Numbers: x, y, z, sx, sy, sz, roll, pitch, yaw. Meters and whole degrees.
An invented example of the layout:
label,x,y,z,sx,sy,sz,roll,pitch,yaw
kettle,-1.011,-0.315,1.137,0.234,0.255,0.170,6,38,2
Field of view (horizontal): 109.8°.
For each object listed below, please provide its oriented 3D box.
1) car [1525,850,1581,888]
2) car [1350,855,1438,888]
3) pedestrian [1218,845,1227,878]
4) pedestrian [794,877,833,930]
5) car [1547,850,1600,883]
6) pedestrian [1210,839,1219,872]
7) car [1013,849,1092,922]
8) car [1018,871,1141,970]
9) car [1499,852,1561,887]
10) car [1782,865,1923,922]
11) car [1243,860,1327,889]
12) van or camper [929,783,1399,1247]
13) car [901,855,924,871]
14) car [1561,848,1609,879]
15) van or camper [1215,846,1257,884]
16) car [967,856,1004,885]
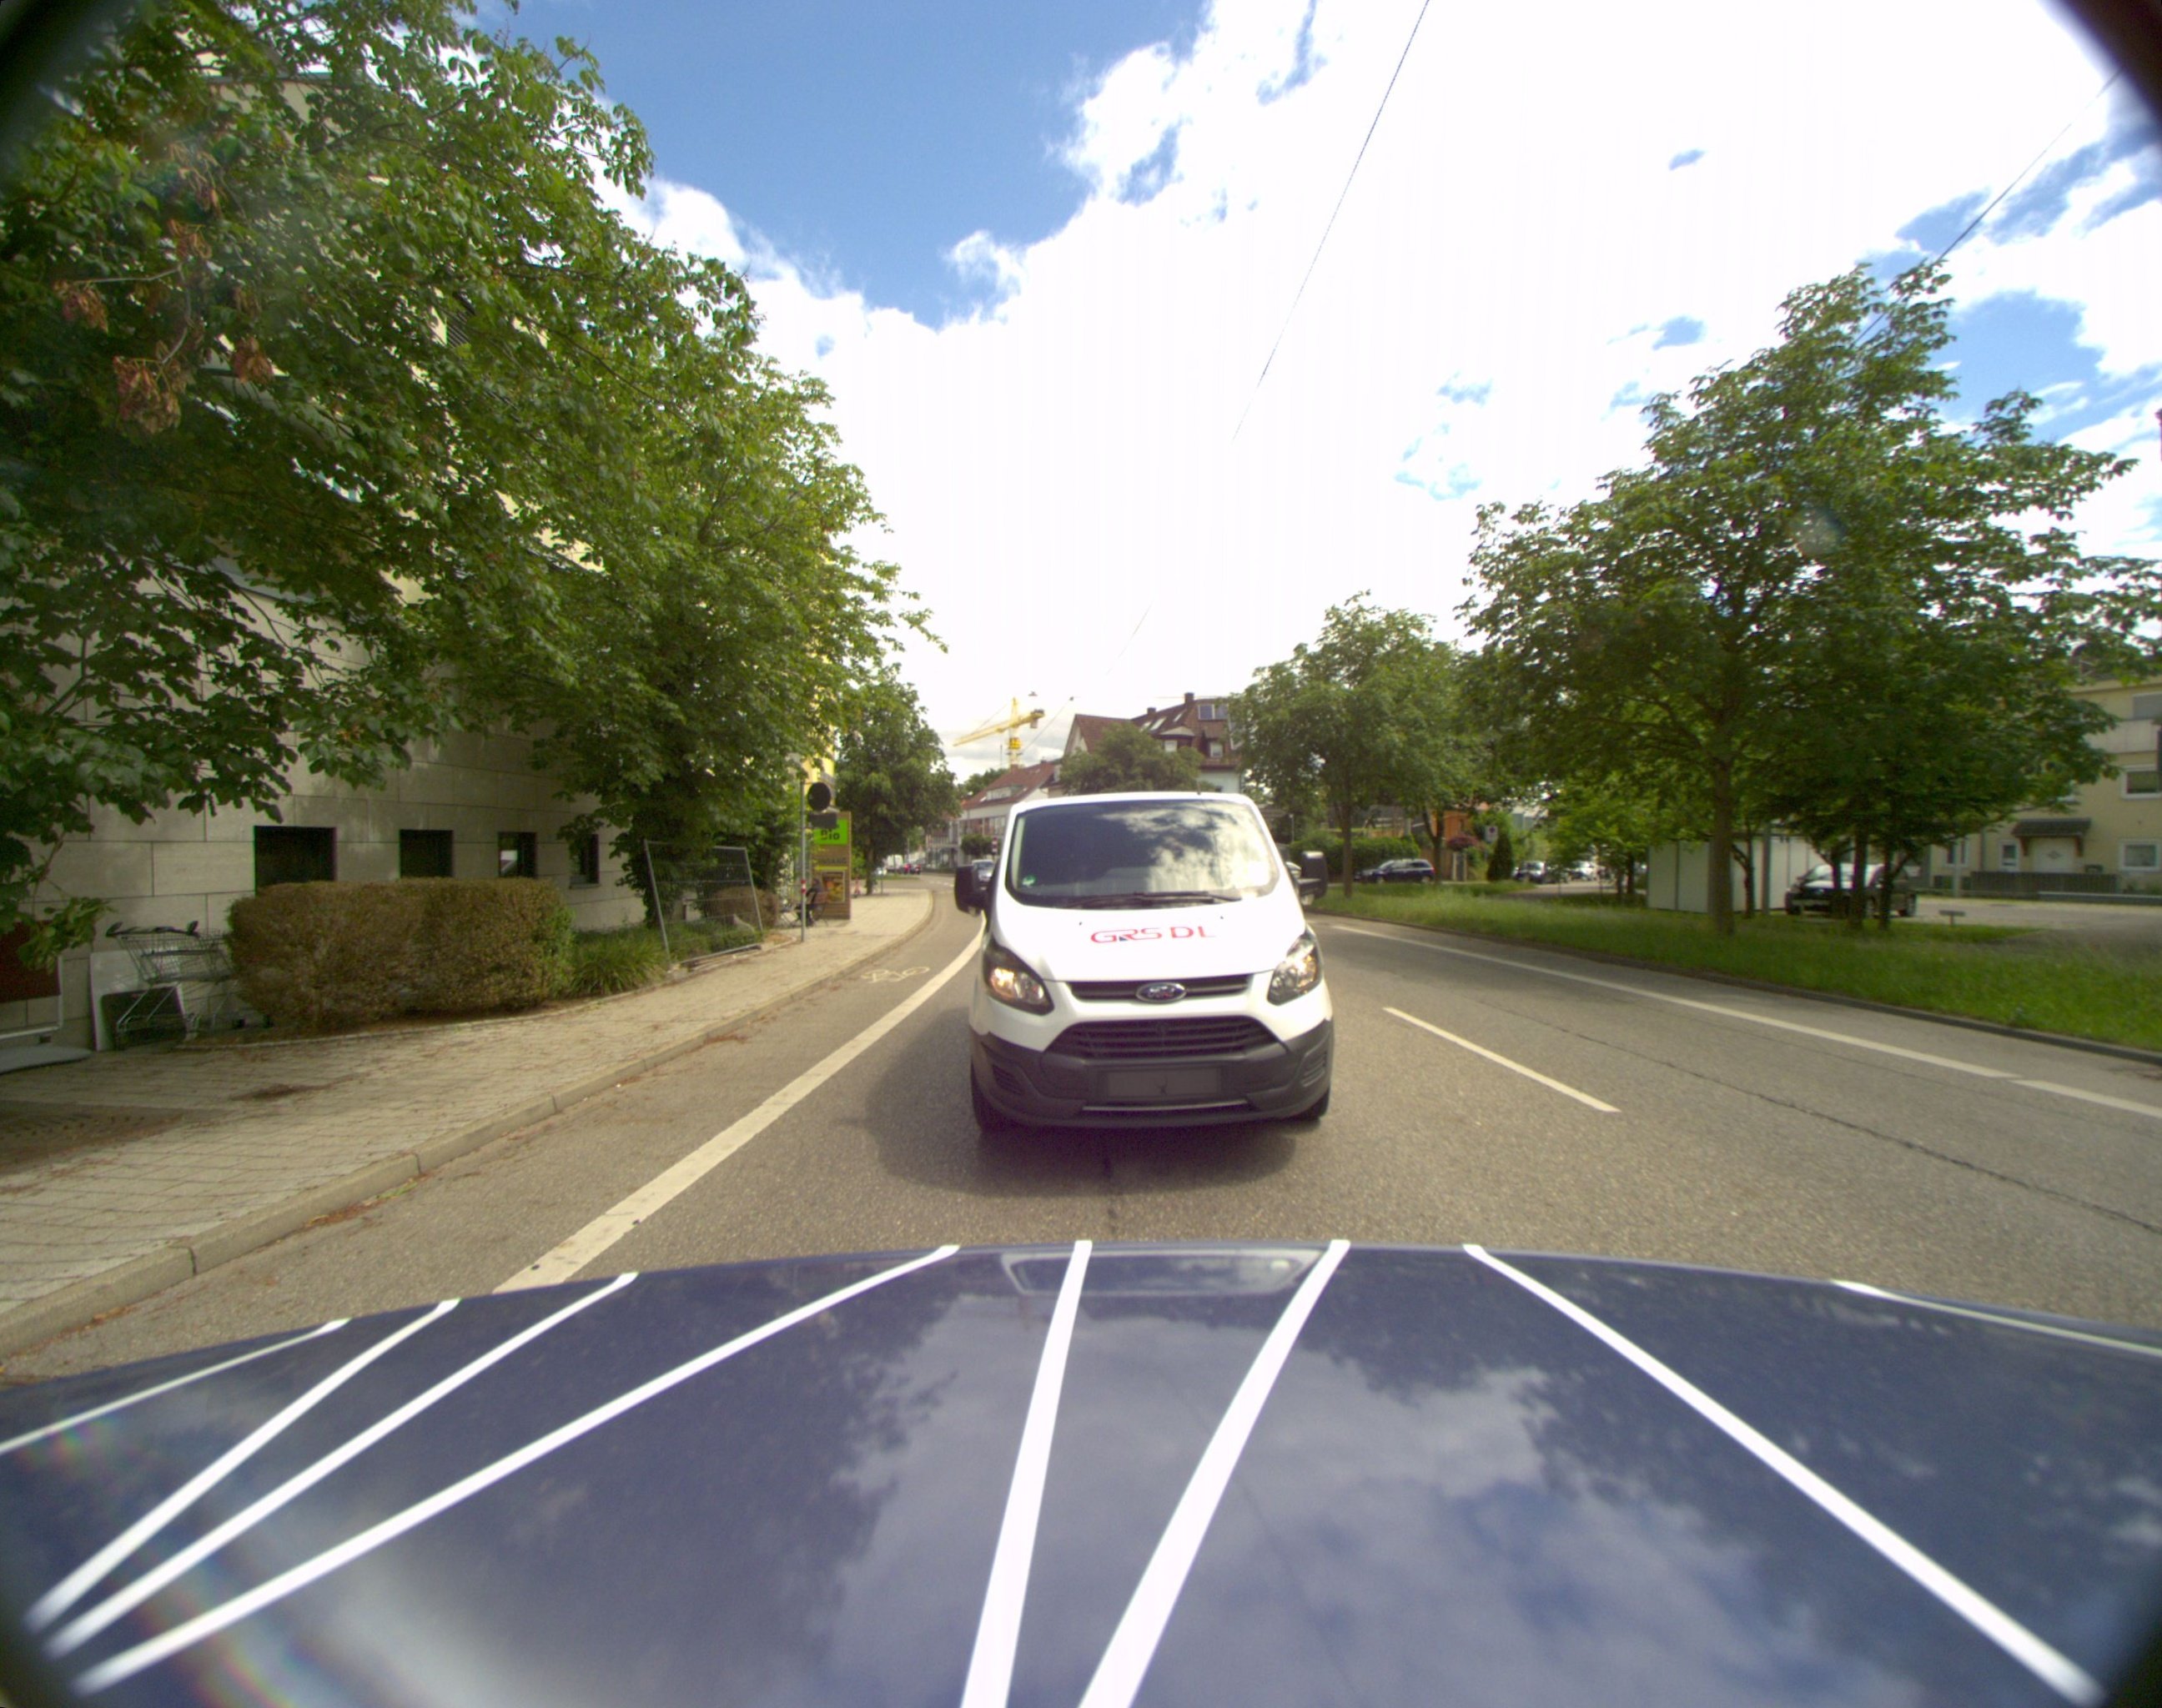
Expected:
label,x,y,z,sx,sy,sz,roll,pitch,yaw
car,30.251,0.948,48.667,4.006,2.003,1.994,-6,3,-43
car,16.661,0.888,40.526,3.976,1.672,1.717,0,1,-3
pedestrian,8.710,0.471,46.785,0.383,1.979,0.443,-2,1,0
pedestrian,-6.777,1.244,19.277,0.731,1.293,0.754,0,1,0
car,33.389,0.815,51.472,4.007,2.002,1.994,-3,1,-42
pedestrian,8.218,0.072,46.817,0.425,2.002,0.363,-2,1,1
car,-0.922,0.794,21.728,1.853,1.805,3.997,-3,1,-7
car,-0.131,1.033,13.331,1.840,1.382,3.999,0,0,-3
car,27.114,0.898,45.830,4.008,2.002,1.976,0,0,-40
car,20.836,0.999,20.491,4.007,1.411,1.789,1,-1,-31
car,10.827,1.054,40.382,4.046,1.314,1.534,-3,1,-13
van or camper,0.438,0.696,5.848,2.027,2.002,5.103,0,0,2
car,-19.420,1.011,87.609,1.744,1.840,3.991,0,0,-26
car,36.310,0.683,54.729,4.007,2.002,1.893,-3,1,-42
van or camper,9.056,0.594,44.607,1.793,2.077,3.811,-2,1,2
car,-5.430,0.900,42.860,1.695,1.477,3.995,-3,1,-12
